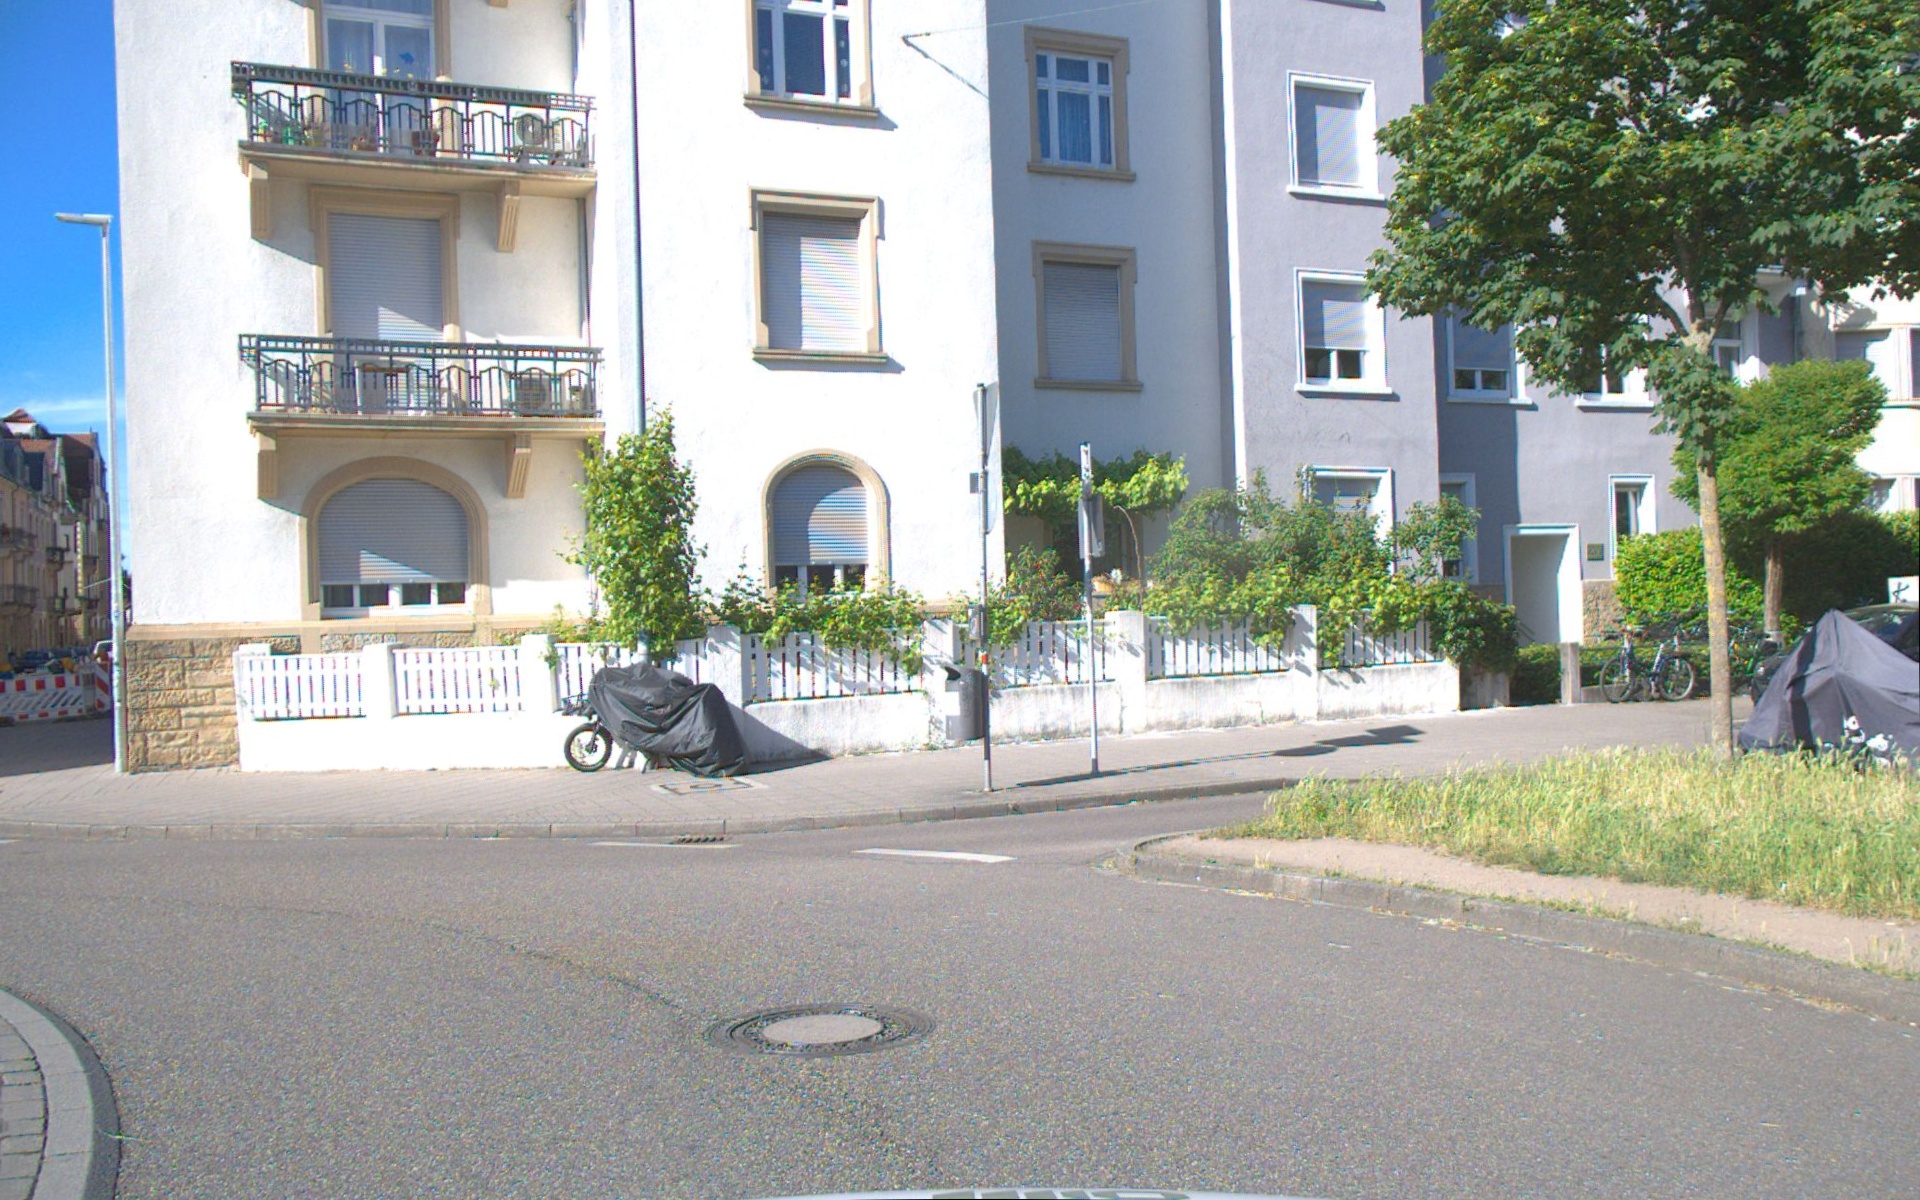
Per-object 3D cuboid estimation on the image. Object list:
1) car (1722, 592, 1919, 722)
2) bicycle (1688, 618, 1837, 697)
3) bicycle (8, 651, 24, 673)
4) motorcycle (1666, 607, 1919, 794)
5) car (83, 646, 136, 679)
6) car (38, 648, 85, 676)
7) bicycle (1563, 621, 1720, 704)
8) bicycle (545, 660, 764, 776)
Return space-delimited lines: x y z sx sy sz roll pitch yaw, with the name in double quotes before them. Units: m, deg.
"car" 11.721 0.671 20.874 3.896 1.470 1.738 -2 -2 -27
"bicycle" 12.068 0.854 24.870 2.218 1.078 0.678 -2 -1 -22
"bicycle" -57.796 3.815 101.274 0.533 1.324 1.855 0 -1 -21
"motorcycle" 6.826 0.710 12.319 1.111 1.290 2.757 -2 -1 -29
"car" -41.057 3.036 79.877 1.813 1.456 4.002 -3 -2 -21
"car" -52.975 3.669 97.582 1.976 1.610 4.455 1 -2 -23
"bicycle" 9.789 0.882 23.754 2.218 1.078 0.678 -2 -1 -22
"bicycle" -3.291 1.257 17.797 2.231 1.178 0.767 -2 -1 20
